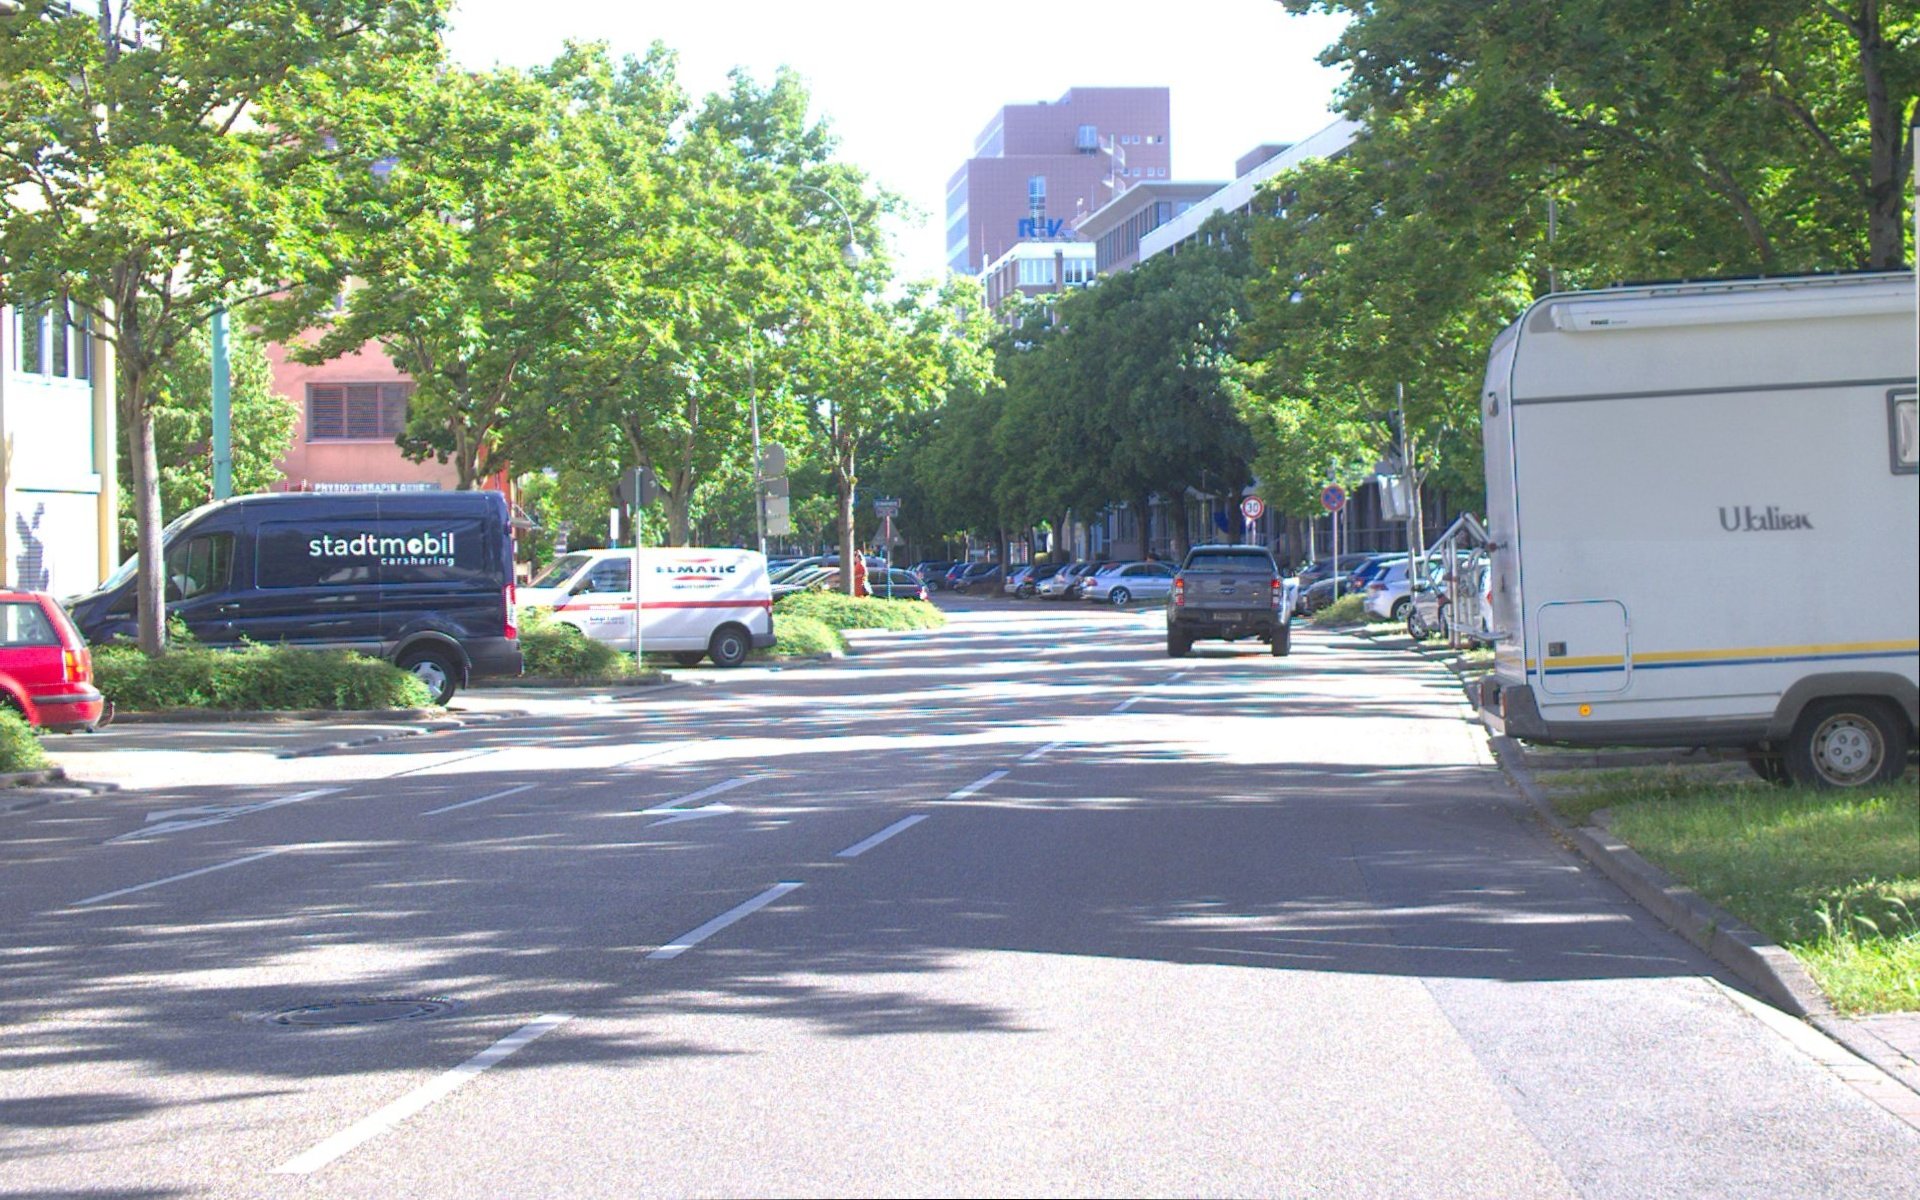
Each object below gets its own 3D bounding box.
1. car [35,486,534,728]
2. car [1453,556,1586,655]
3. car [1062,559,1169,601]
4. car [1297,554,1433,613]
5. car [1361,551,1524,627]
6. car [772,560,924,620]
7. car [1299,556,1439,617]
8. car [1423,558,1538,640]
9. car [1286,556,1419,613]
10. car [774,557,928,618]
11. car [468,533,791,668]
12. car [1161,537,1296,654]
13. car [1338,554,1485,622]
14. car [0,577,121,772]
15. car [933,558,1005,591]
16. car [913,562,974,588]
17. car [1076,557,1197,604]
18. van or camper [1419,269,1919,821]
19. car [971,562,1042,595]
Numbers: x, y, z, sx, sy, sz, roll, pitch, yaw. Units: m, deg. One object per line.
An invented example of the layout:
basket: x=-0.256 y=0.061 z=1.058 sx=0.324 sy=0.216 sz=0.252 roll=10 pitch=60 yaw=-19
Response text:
car: x=-7.635 y=0.046 z=38.833 sx=5.259 sy=2.537 sz=1.986 roll=-1 pitch=1 yaw=-19
car: x=9.000 y=0.067 z=55.508 sx=1.511 sy=1.477 sz=3.255 roll=-3 pitch=1 yaw=-1
car: x=5.988 y=-0.788 z=132.945 sx=3.946 sy=1.392 sz=1.516 roll=-3 pitch=1 yaw=-2
car: x=10.043 y=-0.403 z=85.401 sx=3.244 sy=1.273 sz=1.516 roll=-3 pitch=1 yaw=5
car: x=10.107 y=-0.241 z=72.197 sx=3.244 sy=1.392 sz=1.516 roll=-3 pitch=1 yaw=5
car: x=-2.960 y=-0.269 z=90.631 sx=3.883 sy=1.361 sz=1.410 roll=-3 pitch=1 yaw=-2
car: x=9.871 y=-0.325 z=83.177 sx=3.244 sy=1.273 sz=1.516 roll=-3 pitch=1 yaw=5
car: x=9.471 y=-0.037 z=62.759 sx=1.511 sy=1.392 sz=3.255 roll=-3 pitch=1 yaw=-1
car: x=9.954 y=-0.403 z=87.391 sx=3.244 sy=1.273 sz=1.516 roll=-3 pitch=1 yaw=5
car: x=-2.834 y=-0.322 z=88.858 sx=3.883 sy=1.361 sz=1.410 roll=-3 pitch=1 yaw=-2
car: x=-5.454 y=-0.007 z=56.873 sx=4.883 sy=2.076 sz=1.986 roll=-2 pitch=1 yaw=-28
car: x=4.540 y=-0.117 z=57.796 sx=2.133 sy=1.829 sz=4.940 roll=-1 pitch=1 yaw=5
car: x=10.503 y=-0.285 z=80.099 sx=3.244 sy=1.392 sz=1.516 roll=-3 pitch=1 yaw=5
car: x=-9.239 y=0.637 z=28.187 sx=4.406 sy=1.547 sz=1.922 roll=-1 pitch=1 yaw=-18
car: x=0.417 y=-1.221 z=164.042 sx=3.278 sy=1.392 sz=1.516 roll=-3 pitch=1 yaw=-2
car: x=-0.910 y=-1.383 z=187.179 sx=3.214 sy=1.224 sz=1.263 roll=-3 pitch=1 yaw=-2
car: x=6.029 y=-0.665 z=117.796 sx=3.946 sy=1.392 sz=1.516 roll=-3 pitch=1 yaw=-2
van or camper: x=5.882 y=-0.400 z=20.170 sx=6.080 sy=2.918 sz=2.575 roll=-3 pitch=0 yaw=6
car: x=2.194 y=-1.014 z=161.662 sx=3.214 sy=1.405 sz=1.263 roll=-3 pitch=1 yaw=-2
